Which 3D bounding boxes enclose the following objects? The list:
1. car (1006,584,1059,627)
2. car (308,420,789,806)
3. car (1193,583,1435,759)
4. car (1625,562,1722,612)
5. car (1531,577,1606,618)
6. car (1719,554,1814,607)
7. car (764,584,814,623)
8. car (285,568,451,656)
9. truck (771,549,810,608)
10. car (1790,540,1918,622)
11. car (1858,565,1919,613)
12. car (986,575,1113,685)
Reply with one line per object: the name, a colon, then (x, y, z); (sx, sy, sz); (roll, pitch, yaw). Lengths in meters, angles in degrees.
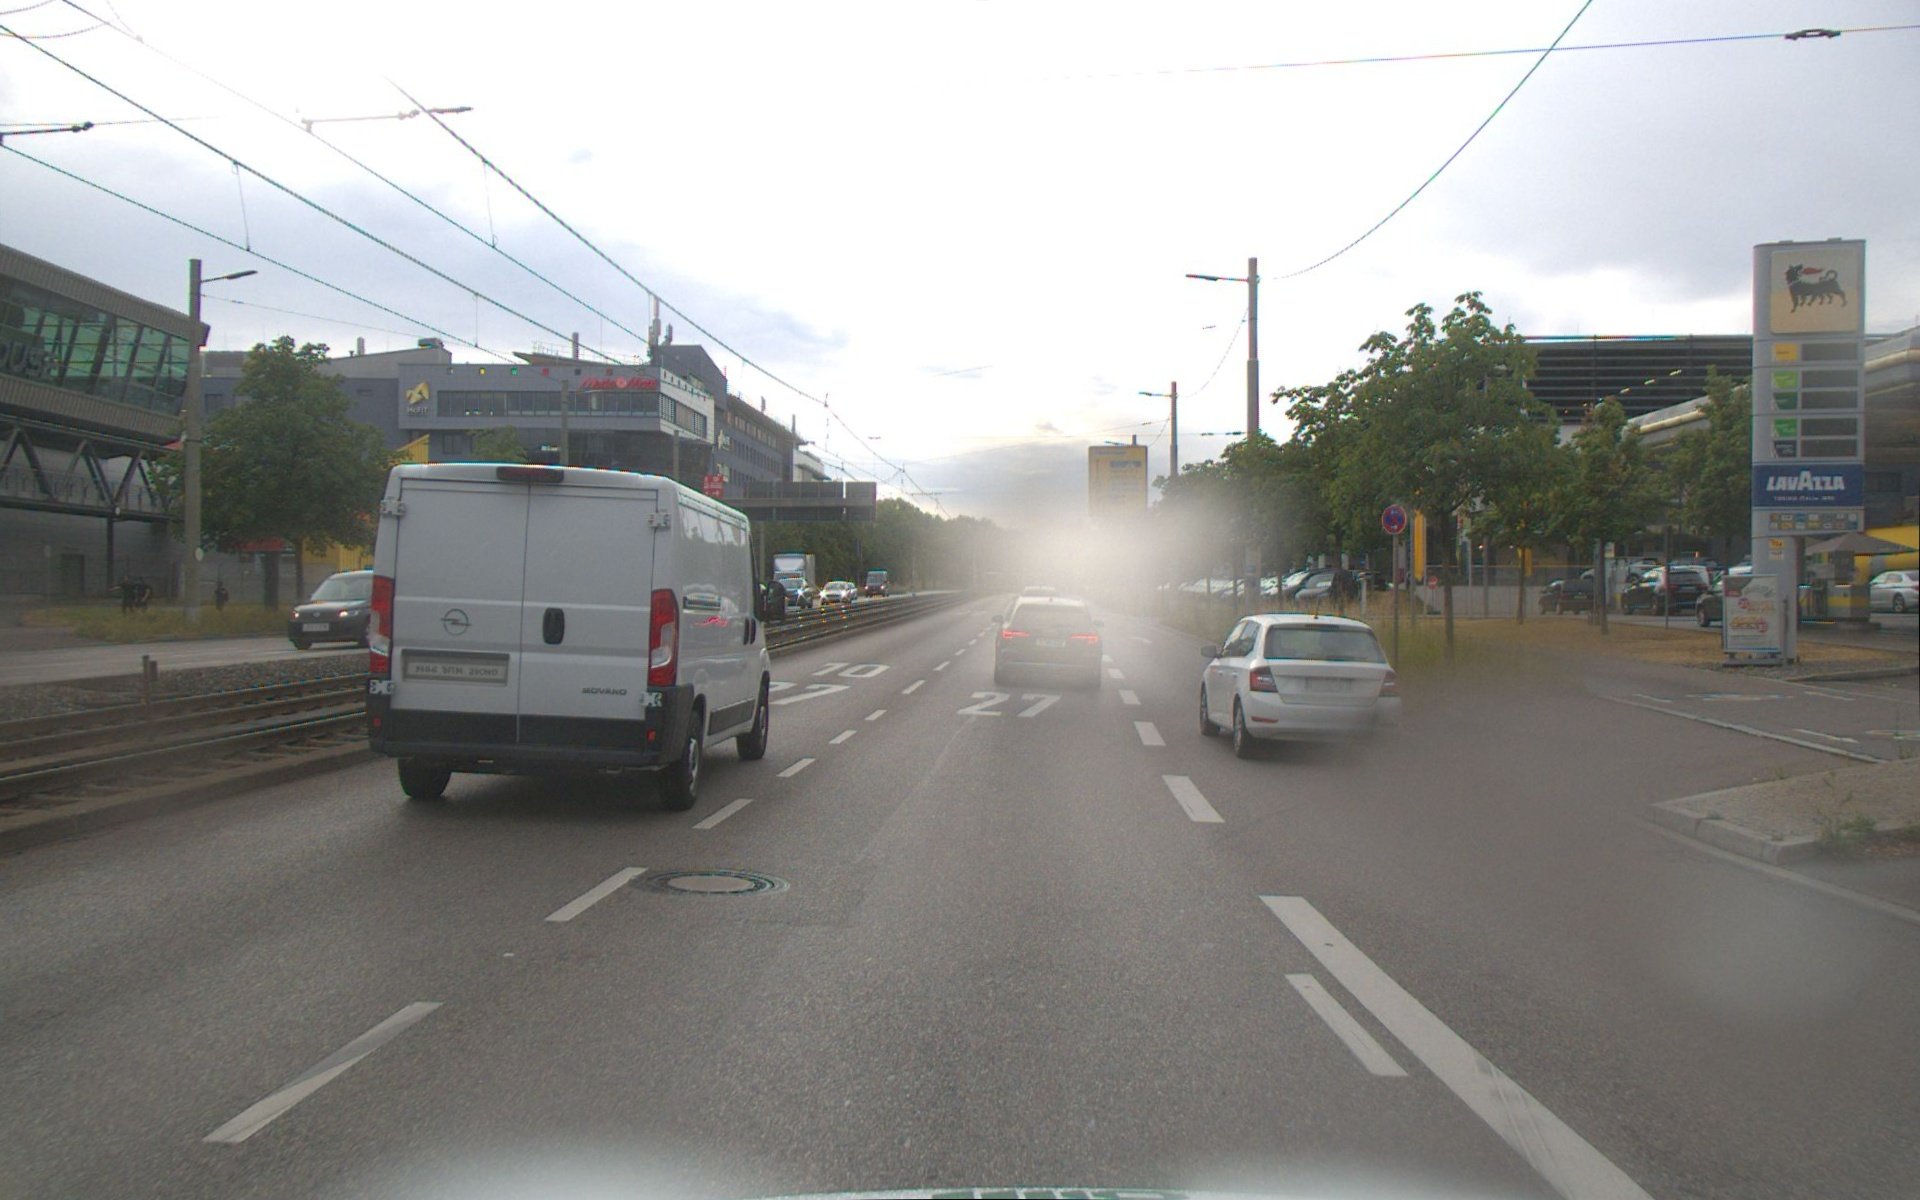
car: (2.677, 0.200, 60.346); (1.854, 1.491, 3.911); (1, 0, 3)
car: (-2.799, 0.060, 12.685); (2.395, 2.334, 4.905); (1, 0, 0)
car: (3.741, 0.704, 18.160); (1.791, 1.685, 4.000); (1, 0, 0)
car: (26.124, -0.465, 60.704); (1.952, 1.758, 4.001); (0, 0, 2)
car: (24.879, -0.132, 67.765); (1.754, 1.619, 4.001); (0, 0, 2)
car: (31.958, -0.768, 65.672); (1.952, 2.049, 4.001); (0, 0, 2)
car: (-9.057, 0.168, 88.029); (2.114, 1.918, 4.302); (2, 0, 0)
car: (-13.905, 0.247, 39.150); (1.762, 1.961, 4.807); (0, 0, 6)
truck: (-11.277, -1.397, 110.546); (2.116, 3.709, 6.869); (2, 0, -3)
car: (23.911, -0.487, 44.367); (1.644, 2.049, 3.544); (2, 0, 4)
car: (33.556, -0.373, 58.129); (1.952, 1.624, 4.001); (0, 0, 2)
car: (1.489, 0.472, 28.094); (1.952, 1.666, 4.001); (2, 0, 2)
